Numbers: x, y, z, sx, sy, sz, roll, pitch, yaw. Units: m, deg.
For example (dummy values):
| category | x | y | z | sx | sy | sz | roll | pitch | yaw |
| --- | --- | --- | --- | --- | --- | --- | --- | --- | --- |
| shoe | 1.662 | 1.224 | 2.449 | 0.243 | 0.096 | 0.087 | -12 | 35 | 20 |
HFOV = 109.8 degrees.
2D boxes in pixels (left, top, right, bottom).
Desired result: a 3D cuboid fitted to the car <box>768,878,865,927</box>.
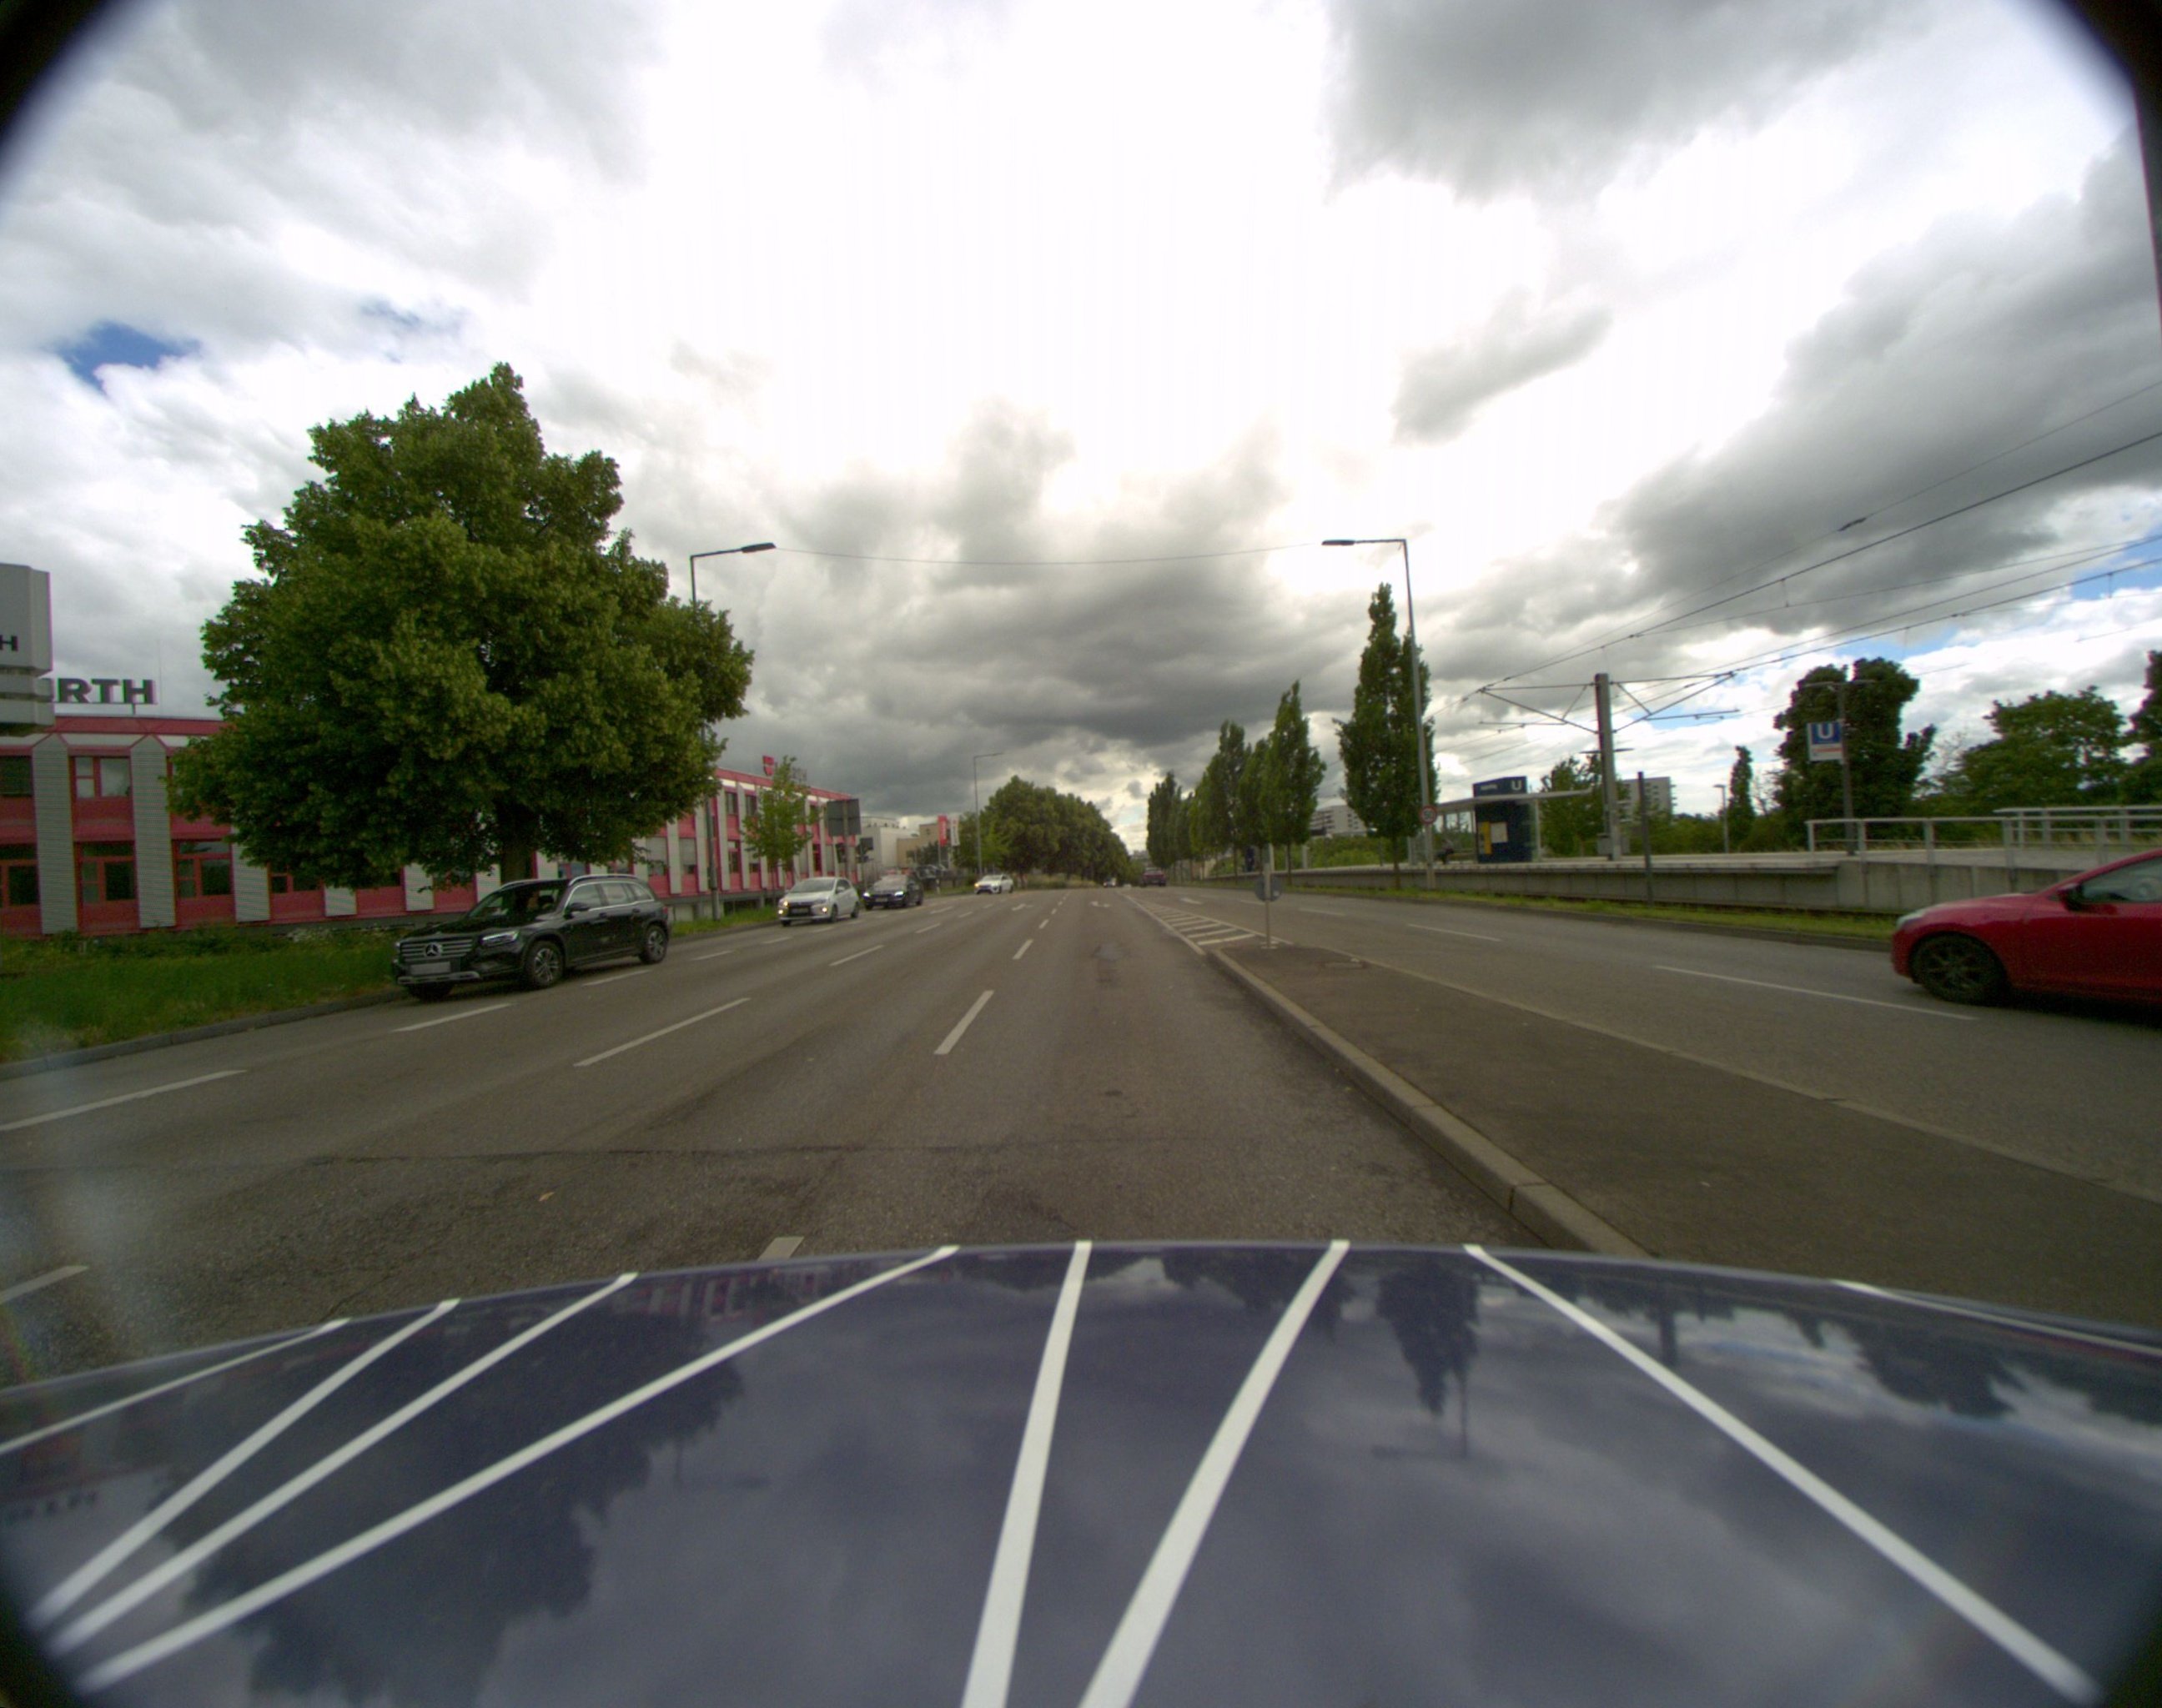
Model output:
| category | x | y | z | sx | sy | sz | roll | pitch | yaw |
| --- | --- | --- | --- | --- | --- | --- | --- | --- | --- |
| car | -8.537 | 1.520 | 24.864 | 1.785 | 1.434 | 3.836 | -1 | -2 | 1 |

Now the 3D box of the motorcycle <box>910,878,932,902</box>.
| category | x | y | z | sx | sy | sz | roll | pitch | yaw |
| --- | --- | --- | --- | --- | --- | --- | --- | --- | --- |
| motorcycle | -8.324 | 1.858 | 39.508 | 0.750 | 1.140 | 1.943 | -4 | -1 | -3 |

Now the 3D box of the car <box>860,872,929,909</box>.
| category | x | y | z | sx | sy | sz | roll | pitch | yaw |
| --- | --- | --- | --- | --- | --- | --- | --- | --- | --- |
| car | -8.063 | 1.559 | 33.251 | 1.785 | 1.437 | 4.530 | -1 | -2 | 1 |

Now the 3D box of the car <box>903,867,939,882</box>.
| category | x | y | z | sx | sy | sz | roll | pitch | yaw |
| --- | --- | --- | --- | --- | --- | --- | --- | --- | --- |
| car | -21.218 | 2.684 | 100.998 | 4.248 | 1.744 | 1.784 | -2 | 0 | 2 |

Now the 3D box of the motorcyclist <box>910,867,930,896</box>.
| category | x | y | z | sx | sy | sz | roll | pitch | yaw |
| --- | --- | --- | --- | --- | --- | --- | --- | --- | --- |
| motorcyclist | -8.348 | 1.419 | 39.410 | 0.750 | 1.481 | 0.933 | -4 | -1 | -4 |

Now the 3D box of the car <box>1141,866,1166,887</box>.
| category | x | y | z | sx | sy | sz | roll | pitch | yaw |
| --- | --- | --- | --- | --- | --- | --- | --- | --- | --- |
| car | 5.904 | 1.807 | 62.449 | 1.782 | 1.537 | 4.225 | -2 | 0 | 3 |

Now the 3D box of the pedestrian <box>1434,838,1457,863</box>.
| category | x | y | z | sx | sy | sz | roll | pitch | yaw |
| --- | --- | --- | --- | --- | --- | --- | --- | --- | --- |
| pedestrian | 17.619 | -0.176 | 36.726 | 0.663 | 1.195 | 0.782 | -2 | 0 | -7 |

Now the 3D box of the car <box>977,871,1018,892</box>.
| category | x | y | z | sx | sy | sz | roll | pitch | yaw |
| --- | --- | --- | --- | --- | --- | --- | --- | --- | --- |
| car | -6.036 | 2.006 | 55.250 | 1.784 | 1.353 | 4.484 | -3 | -3 | 9 |

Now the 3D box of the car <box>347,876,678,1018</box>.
| category | x | y | z | sx | sy | sz | roll | pitch | yaw |
| --- | --- | --- | --- | --- | --- | --- | --- | --- | --- |
| car | -8.643 | 1.291 | 12.184 | 1.785 | 1.640 | 4.426 | -5 | -1 | 1 |

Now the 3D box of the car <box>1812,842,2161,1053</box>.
| category | x | y | z | sx | sy | sz | roll | pitch | yaw |
| --- | --- | --- | --- | --- | --- | --- | --- | --- | --- |
| car | 8.511 | 0.654 | 5.594 | 1.786 | 1.434 | 4.424 | -3 | 0 | -4 |

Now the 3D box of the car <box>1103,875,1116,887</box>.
| category | x | y | z | sx | sy | sz | roll | pitch | yaw |
| --- | --- | --- | --- | --- | --- | --- | --- | --- | --- |
| car | 4.376 | 4.121 | 116.515 | 1.782 | 1.744 | 4.253 | -2 | 0 | 4 |
